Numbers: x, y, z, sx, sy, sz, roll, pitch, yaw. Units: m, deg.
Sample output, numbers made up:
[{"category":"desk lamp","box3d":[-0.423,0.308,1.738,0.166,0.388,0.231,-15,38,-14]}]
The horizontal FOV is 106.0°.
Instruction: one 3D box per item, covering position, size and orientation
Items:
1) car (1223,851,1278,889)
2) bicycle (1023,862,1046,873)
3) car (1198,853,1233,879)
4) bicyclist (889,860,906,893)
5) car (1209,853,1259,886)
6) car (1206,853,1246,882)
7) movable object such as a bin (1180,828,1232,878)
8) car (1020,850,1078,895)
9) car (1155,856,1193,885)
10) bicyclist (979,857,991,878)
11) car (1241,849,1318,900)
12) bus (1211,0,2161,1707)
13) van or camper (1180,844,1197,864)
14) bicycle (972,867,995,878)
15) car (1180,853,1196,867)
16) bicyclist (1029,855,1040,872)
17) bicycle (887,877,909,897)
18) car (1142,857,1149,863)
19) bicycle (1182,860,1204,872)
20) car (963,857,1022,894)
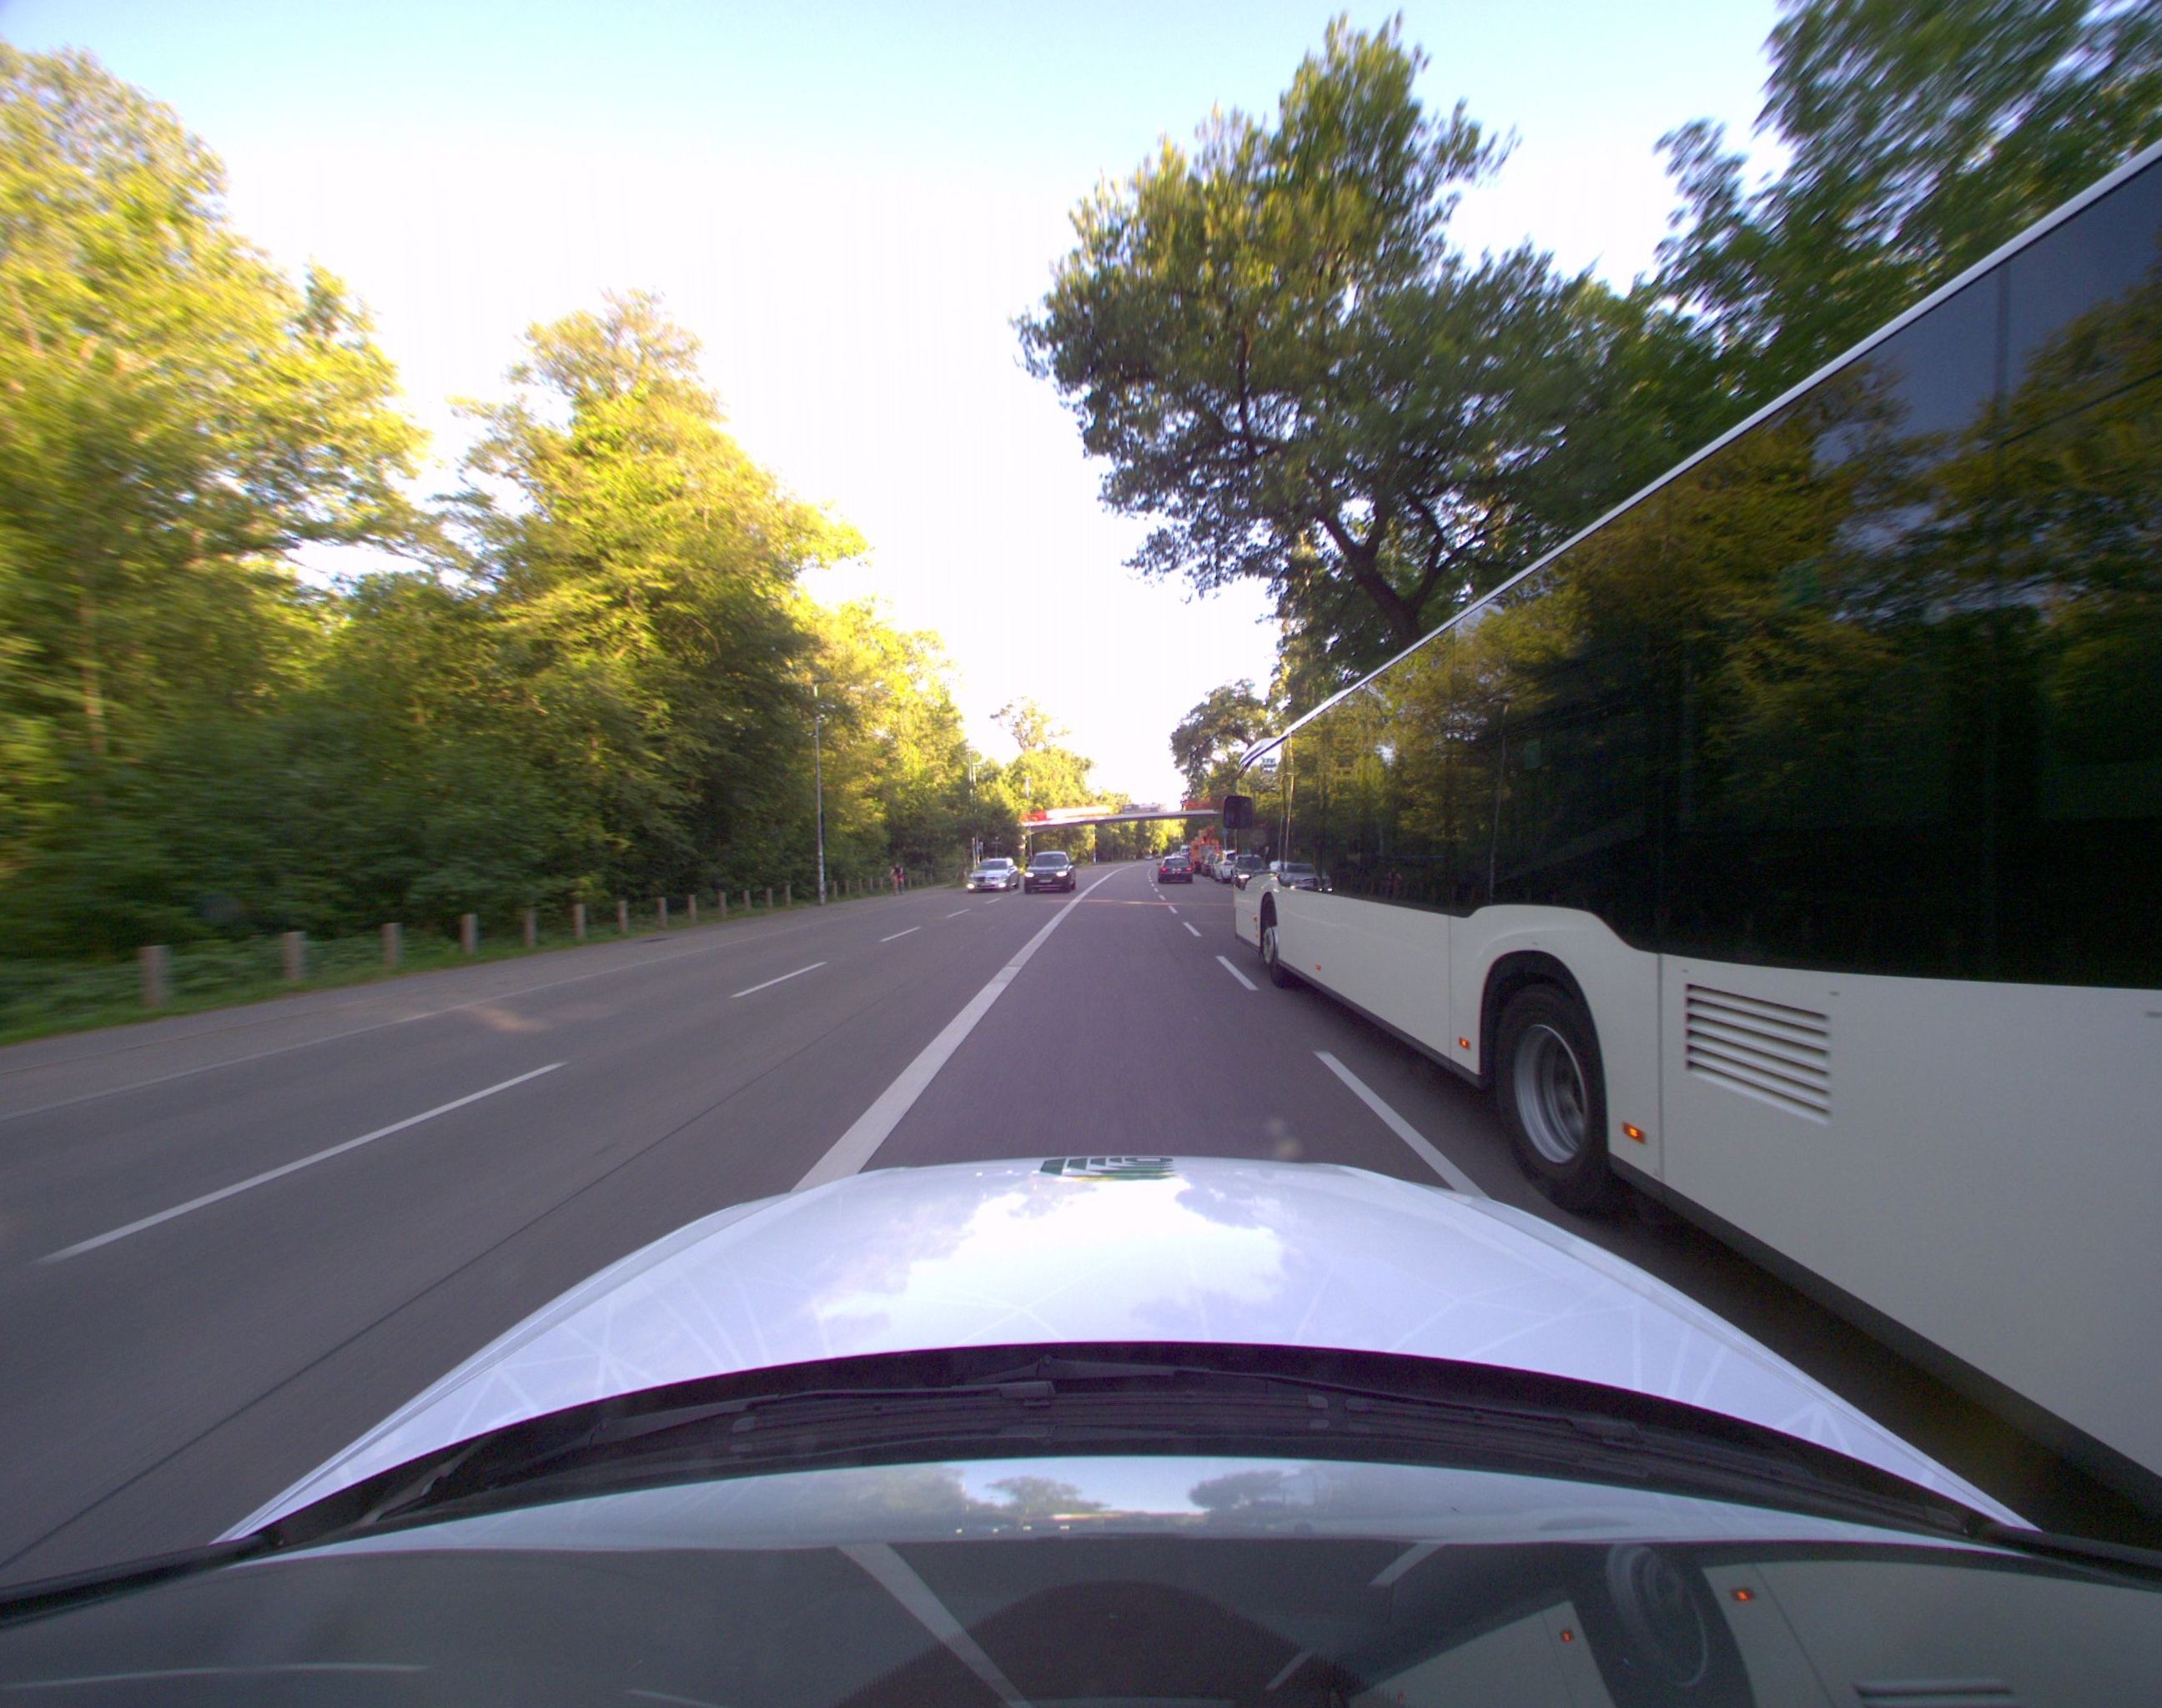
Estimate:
[{"category":"car","box3d":[7.476,0.689,36.253,1.721,1.542,4.092,-1,0,2]},{"category":"bicycle","box3d":[-4.379,1.278,76.851,1.913,0.934,0.828,-2,0,14]},{"category":"car","box3d":[8.635,0.774,52.575,1.721,1.574,4.092,-1,0,2]},{"category":"bicyclist","box3d":[-8.589,1.036,38.137,0.497,1.484,0.761,-4,-1,3]},{"category":"car","box3d":[7.742,0.763,41.638,1.831,1.574,4.461,-1,0,2]},{"category":"car","box3d":[8.317,0.733,47.023,1.721,1.574,4.092,-1,0,2]},{"category":"movable object such as a bin","box3d":[9.229,-0.051,60.820,2.749,3.370,7.601,-2,0,1]},{"category":"car","box3d":[-1.258,0.733,34.411,1.909,1.704,4.447,-2,0,4]},{"category":"car","box3d":[4.828,0.830,42.773,1.720,1.441,4.093,-1,0,3]},{"category":"bicyclist","box3d":[-9.069,1.265,76.902,0.789,1.901,0.820,-2,0,14]},{"category":"car","box3d":[6.611,0.650,27.560,1.721,1.524,4.092,-2,0,2]},{"category":"bus","box3d":[3.258,-0.076,6.378,2.694,3.222,12.280,-1,0,1]},{"category":"van or camper","box3d":[14.568,0.029,110.559,2.108,2.517,5.990,-2,0,6]},{"category":"bicycle","box3d":[-9.176,1.755,76.923,1.913,0.934,0.828,-3,-1,14]},{"category":"car","box3d":[13.046,0.710,99.533,1.713,1.496,3.784,-4,-1,9]},{"category":"bicyclist","box3d":[-4.395,0.906,76.853,0.789,1.643,0.844,-2,0,14]},{"category":"bicycle","box3d":[-8.551,1.541,38.156,0.493,0.814,1.809,-4,0,3]},{"category":"car","box3d":[17.155,1.582,217.374,1.672,1.407,3.897,-4,-1,7]},{"category":"bicycle","box3d":[11.027,1.168,80.284,2.054,1.068,0.870,-3,-1,1]},{"category":"car","box3d":[-3.972,0.939,37.277,1.890,1.531,4.534,-1,0,4]}]
